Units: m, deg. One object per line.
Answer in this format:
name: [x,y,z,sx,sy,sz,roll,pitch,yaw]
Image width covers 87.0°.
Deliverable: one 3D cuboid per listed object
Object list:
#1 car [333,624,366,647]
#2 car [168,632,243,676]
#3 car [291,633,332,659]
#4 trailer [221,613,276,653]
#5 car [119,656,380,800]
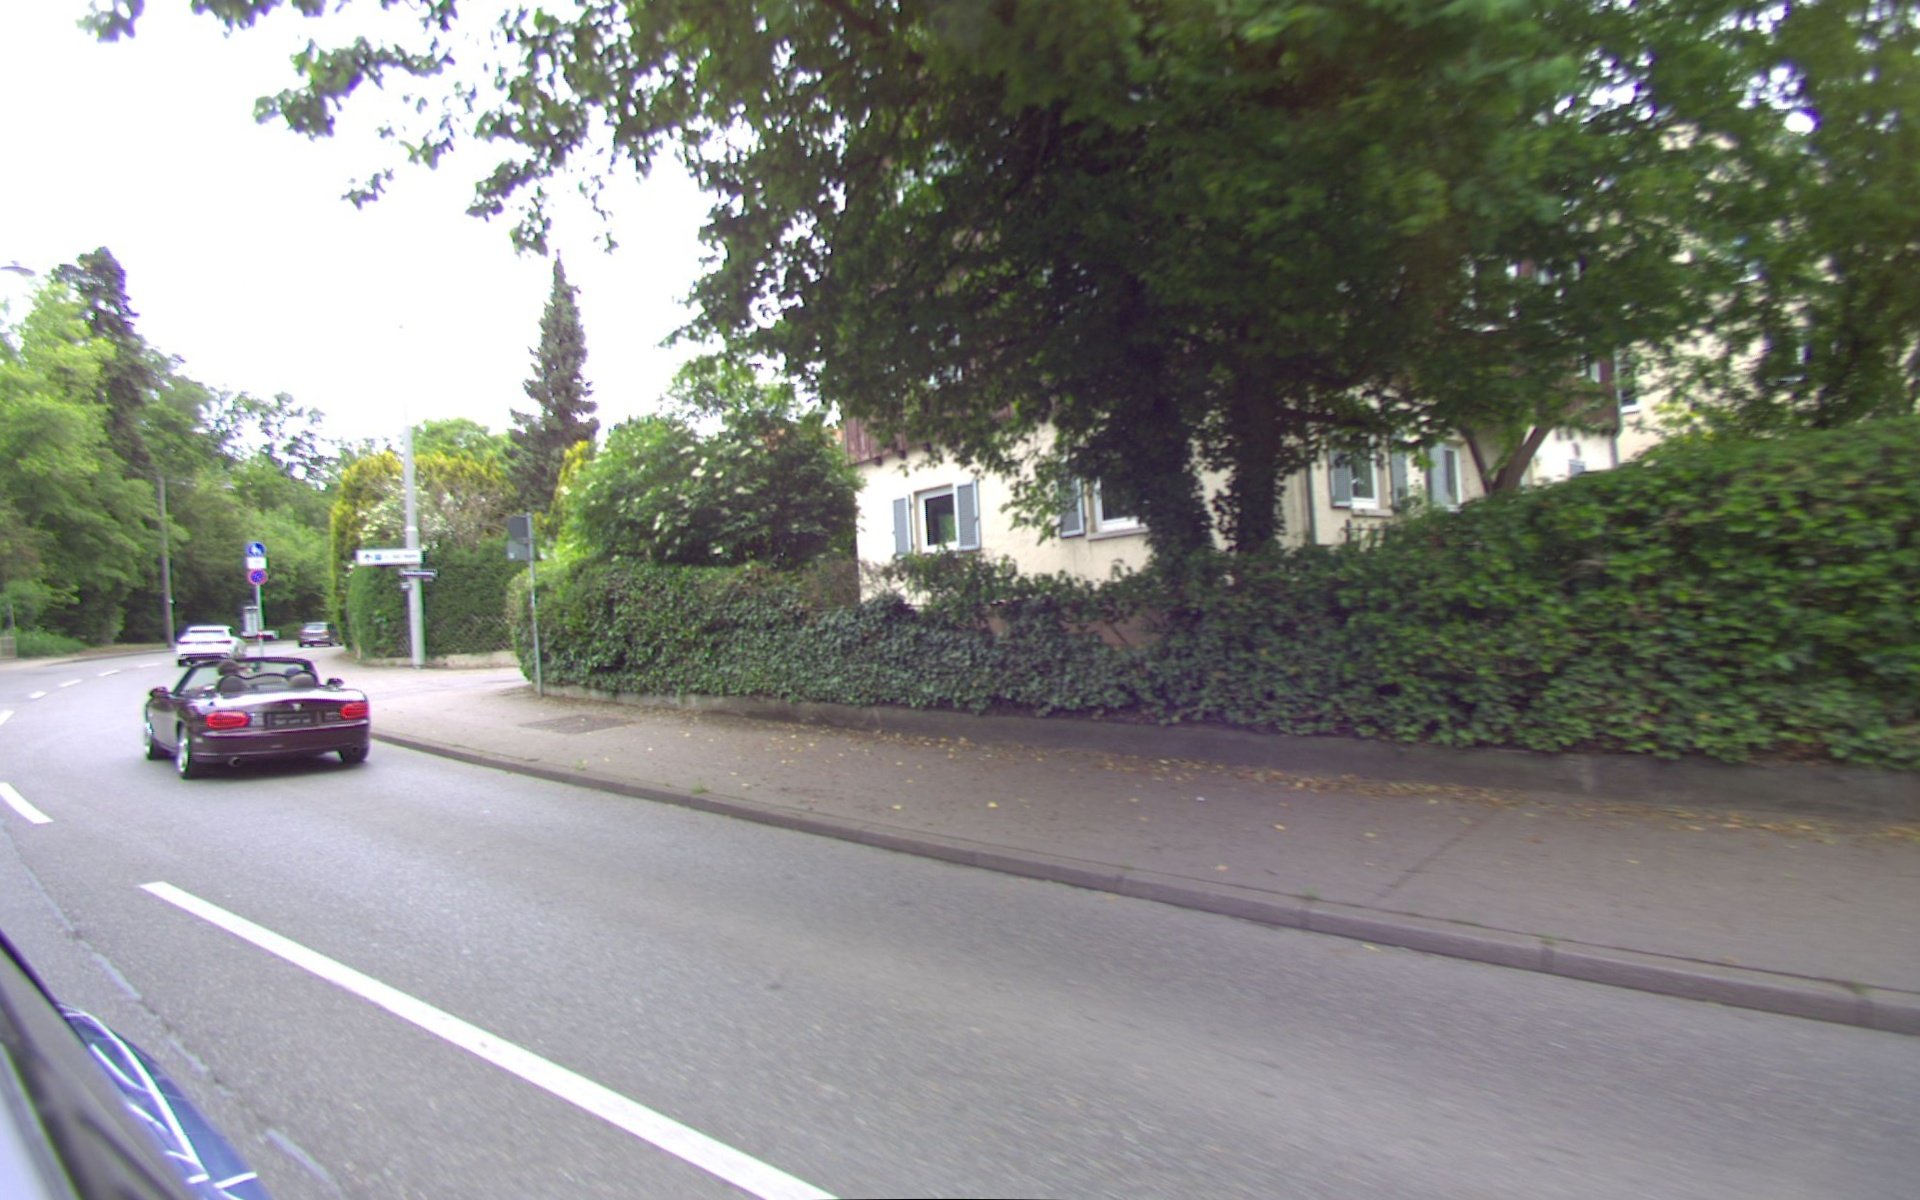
car: [-42.273,2.437,70.085,1.876,1.465,3.808,-1,1,-31]
car: [-28.325,1.998,38.122,1.782,1.453,4.211,0,0,-30]
car: [-37.970,2.654,59.202,1.887,1.409,3.919,-1,-1,-35]
trailer: [-55.081,2.511,78.350,3.073,2.921,1.598,-2,0,-18]
car: [-7.954,1.279,11.201,3.788,1.186,1.672,-2,-1,44]
